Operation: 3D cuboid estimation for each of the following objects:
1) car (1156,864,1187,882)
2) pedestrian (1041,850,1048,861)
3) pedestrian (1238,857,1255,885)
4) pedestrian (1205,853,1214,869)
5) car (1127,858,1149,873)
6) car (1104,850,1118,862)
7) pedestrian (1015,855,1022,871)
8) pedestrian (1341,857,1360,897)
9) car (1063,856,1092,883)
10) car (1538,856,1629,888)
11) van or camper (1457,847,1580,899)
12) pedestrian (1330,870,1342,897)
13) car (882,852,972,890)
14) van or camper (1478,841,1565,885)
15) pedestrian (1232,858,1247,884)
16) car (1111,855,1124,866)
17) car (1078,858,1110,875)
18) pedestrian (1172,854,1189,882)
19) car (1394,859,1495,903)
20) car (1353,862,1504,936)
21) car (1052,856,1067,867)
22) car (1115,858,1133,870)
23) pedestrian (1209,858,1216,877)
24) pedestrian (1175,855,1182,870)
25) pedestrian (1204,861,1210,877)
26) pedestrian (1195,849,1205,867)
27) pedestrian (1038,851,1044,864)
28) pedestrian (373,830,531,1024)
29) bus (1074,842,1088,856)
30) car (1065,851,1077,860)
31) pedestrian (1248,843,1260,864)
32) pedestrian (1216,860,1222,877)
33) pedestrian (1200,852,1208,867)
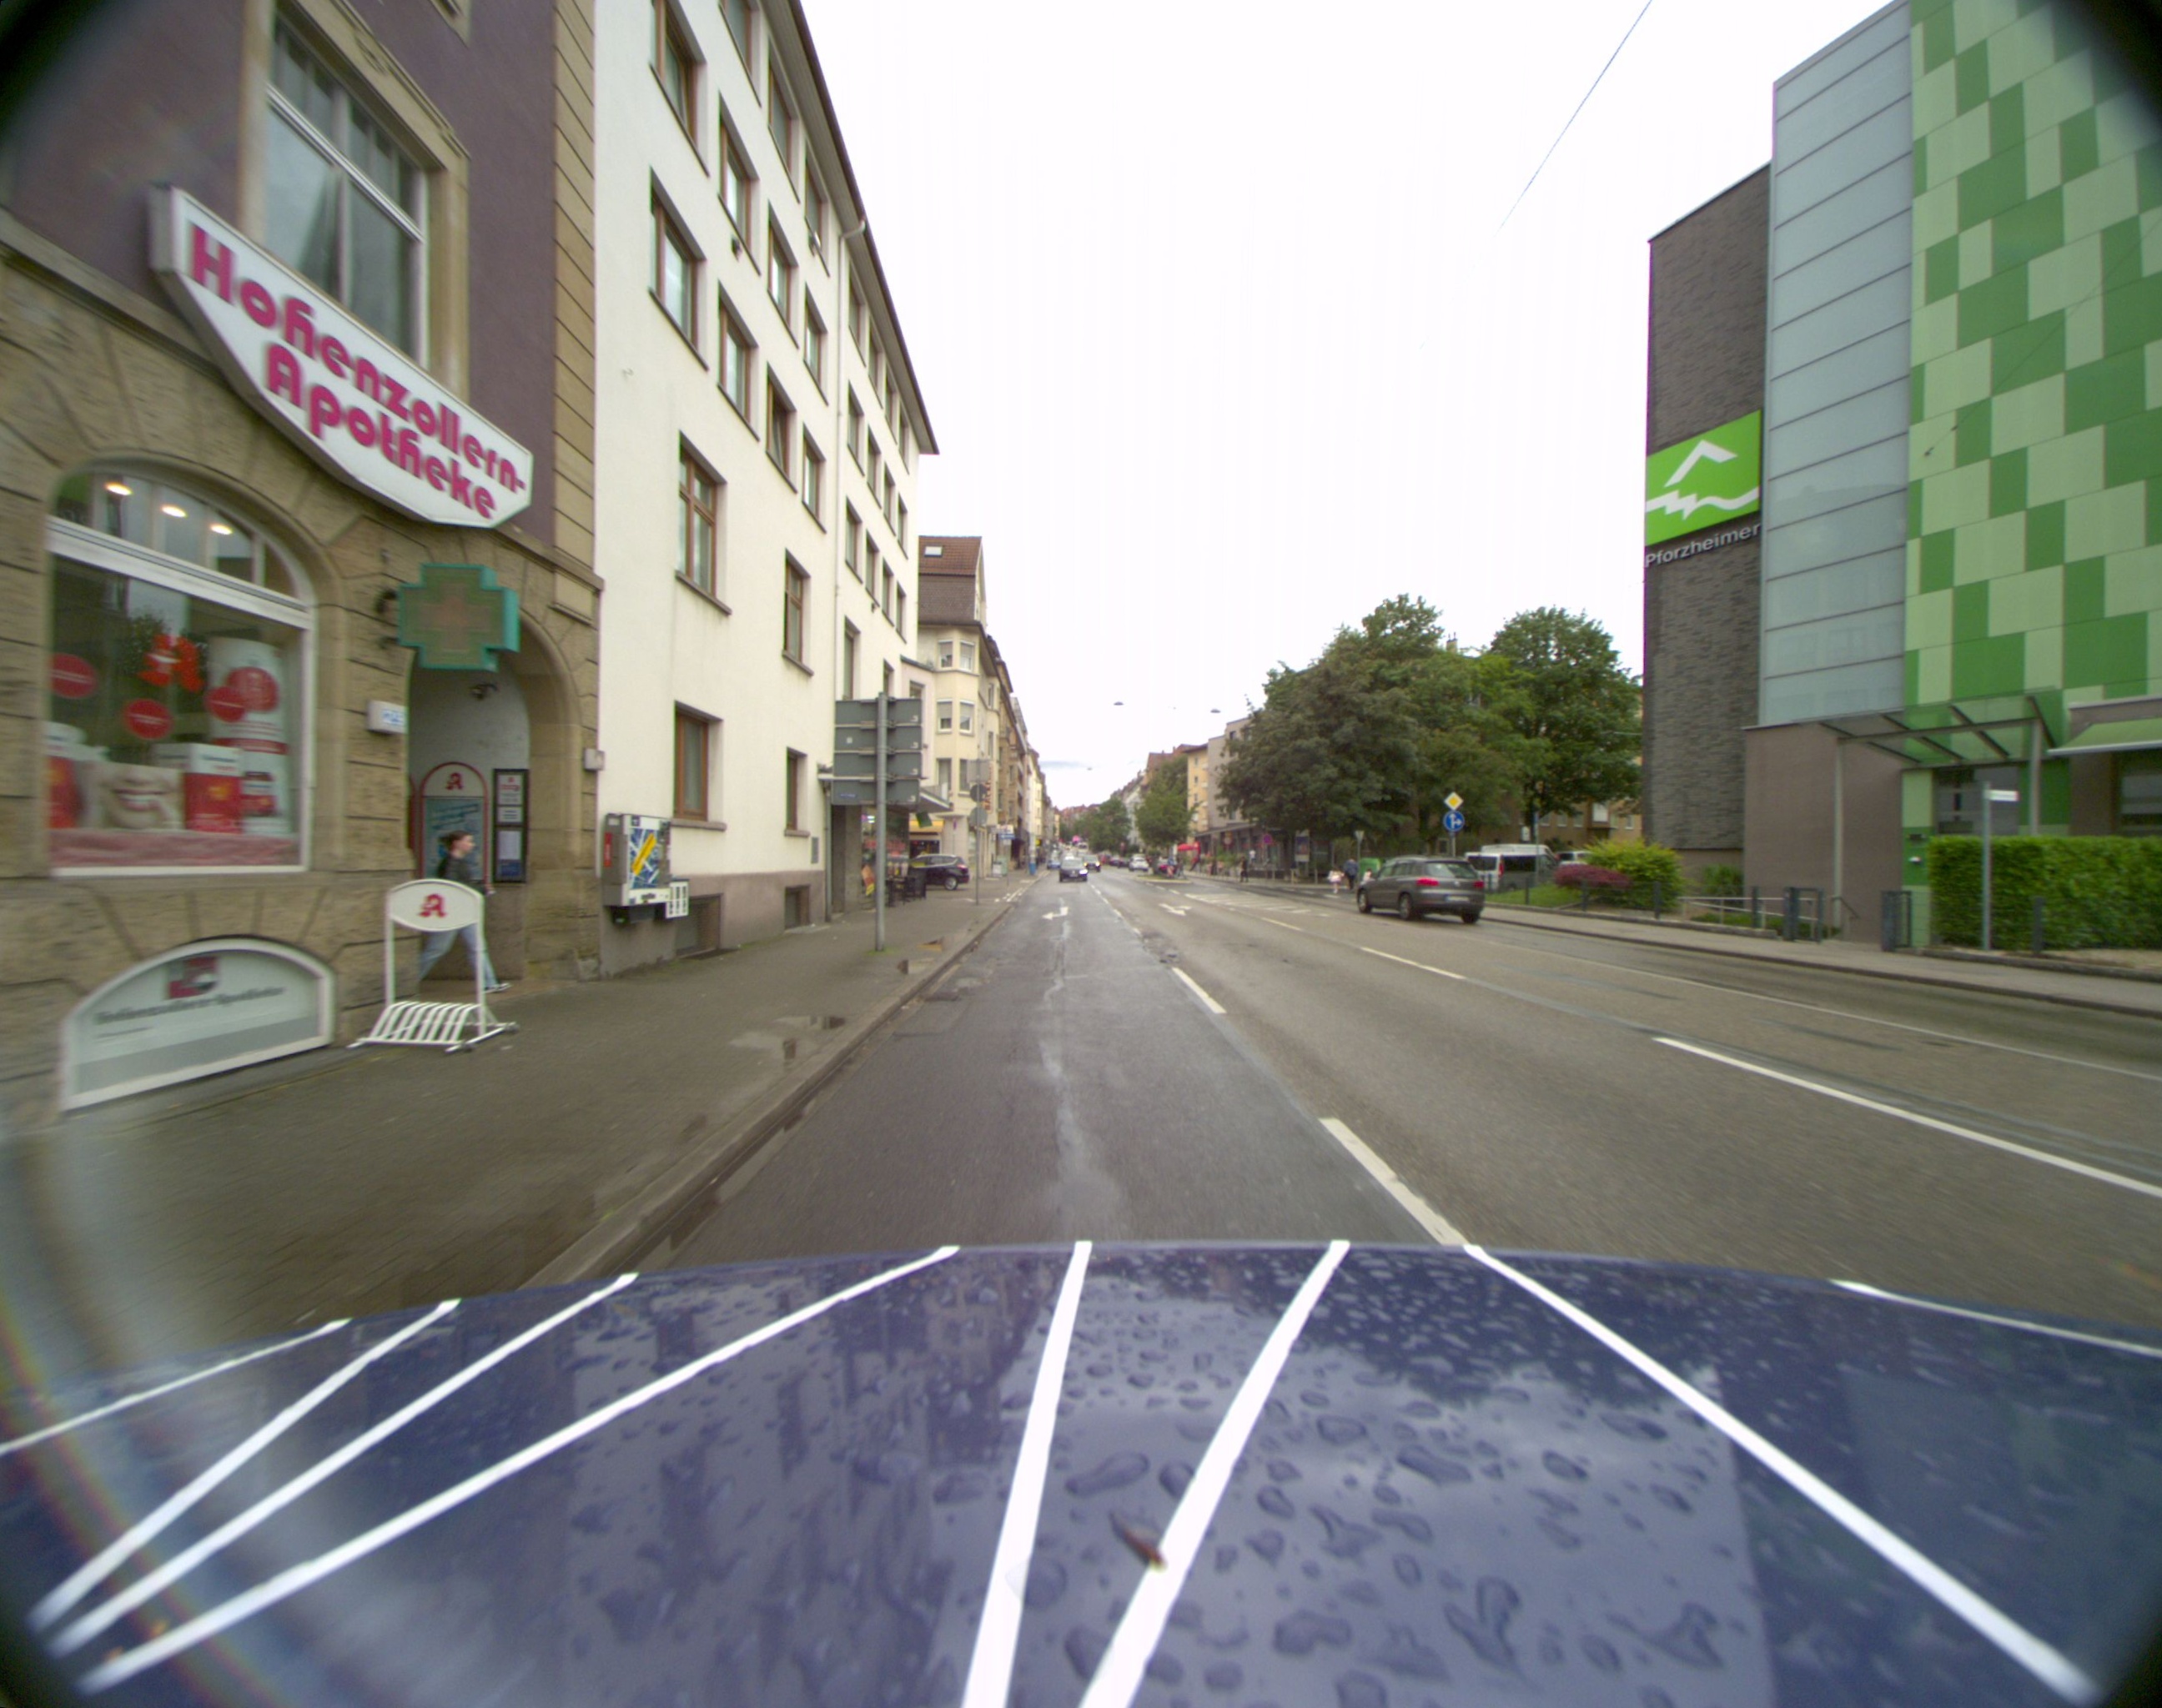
[{"bbox_3d":[7.900,1.647,66.658,2.019,1.417,4.499,-1,0,-1],"label":"car"},{"bbox_3d":[-5.938,0.304,122.801,0.854,1.738,1.062,2,0,-11],"label":"pedestrian"},{"bbox_3d":[10.969,1.122,50.308,0.863,1.834,0.693,0,1,-16],"label":"pedestrian"},{"bbox_3d":[13.849,0.767,81.959,0.711,1.668,0.801,0,1,26],"label":"pedestrian"},{"bbox_3d":[6.238,1.236,83.297,1.825,1.560,4.088,4,0,-3],"label":"car"},{"bbox_3d":[5.417,0.344,136.945,2.111,1.755,5.057,2,2,-2],"label":"car"},{"bbox_3d":[-6.267,0.876,75.699,0.563,1.563,0.626,0,1,-18],"label":"pedestrian"},{"bbox_3d":[12.046,1.026,33.974,0.576,1.752,0.581,0,0,-8],"label":"pedestrian"},{"bbox_3d":[-0.194,0.948,48.187,1.734,1.538,3.981,2,1,0],"label":"car"},{"bbox_3d":[23.808,0.830,35.993,3.734,1.435,1.995,0,0,-27],"label":"car"},{"bbox_3d":[18.875,0.800,32.768,4.973,2.001,1.997,-2,-1,-24],"label":"van or camper"},{"bbox_3d":[11.356,1.296,33.886,0.410,1.191,0.311,0,1,-8],"label":"pedestrian"},{"bbox_3d":[-7.357,0.778,36.464,4.152,1.761,1.871,0,0,-11],"label":"car"},{"bbox_3d":[25.002,0.467,43.076,4.625,2.253,2.206,-2,0,-30],"label":"van or camper"},{"bbox_3d":[10.716,1.157,51.324,0.658,1.748,0.719,0,1,-24],"label":"pedestrian"},{"bbox_3d":[5.842,0.972,121.120,1.959,1.503,4.912,-2,1,4],"label":"car"},{"bbox_3d":[1.306,1.219,74.945,1.853,1.646,4.211,0,0,20],"label":"car"},{"bbox_3d":[6.353,0.898,48.745,0.724,1.815,0.853,-1,0,-24],"label":"pedestrian"},{"bbox_3d":[14.426,1.044,30.148,3.594,1.561,1.737,-1,1,-26],"label":"car"},{"bbox_3d":[8.897,1.081,19.884,1.953,1.649,4.056,1,0,-2],"label":"car"},{"bbox_3d":[-2.715,0.962,96.624,1.739,1.302,3.767,-2,0,1],"label":"car"},{"bbox_3d":[5.878,1.371,105.156,1.960,1.547,4.242,2,0,-3],"label":"car"},{"bbox_3d":[11.509,1.186,66.434,0.499,1.663,0.552,0,1,-5],"label":"pedestrian"},{"bbox_3d":[11.796,1.048,91.733,0.591,1.809,0.869,0,1,-10],"label":"pedestrian"},{"bbox_3d":[11.006,1.287,66.457,0.434,1.402,0.481,0,1,-5],"label":"pedestrian"},{"bbox_3d":[12.044,0.444,76.981,0.724,1.815,0.721,-1,0,-20],"label":"pedestrian"},{"bbox_3d":[-5.178,0.456,97.731,0.627,1.642,0.748,3,0,-1],"label":"pedestrian"},{"bbox_3d":[-5.820,0.650,7.076,0.901,1.710,0.674,0,1,-5],"label":"pedestrian"},{"bbox_3d":[-0.004,-1.382,194.434,2.813,3.228,11.956,4,1,-3],"label":"bus"},{"bbox_3d":[-1.950,0.321,148.114,1.960,1.547,4.242,2,0,-3],"label":"car"},{"bbox_3d":[15.559,-0.031,68.497,0.724,1.815,0.720,-1,0,-29],"label":"pedestrian"},{"bbox_3d":[12.086,1.255,66.536,0.461,1.465,0.530,0,1,-5],"label":"pedestrian"},{"bbox_3d":[13.413,0.623,83.128,0.715,1.668,0.713,0,1,-2],"label":"pedestrian"}]
